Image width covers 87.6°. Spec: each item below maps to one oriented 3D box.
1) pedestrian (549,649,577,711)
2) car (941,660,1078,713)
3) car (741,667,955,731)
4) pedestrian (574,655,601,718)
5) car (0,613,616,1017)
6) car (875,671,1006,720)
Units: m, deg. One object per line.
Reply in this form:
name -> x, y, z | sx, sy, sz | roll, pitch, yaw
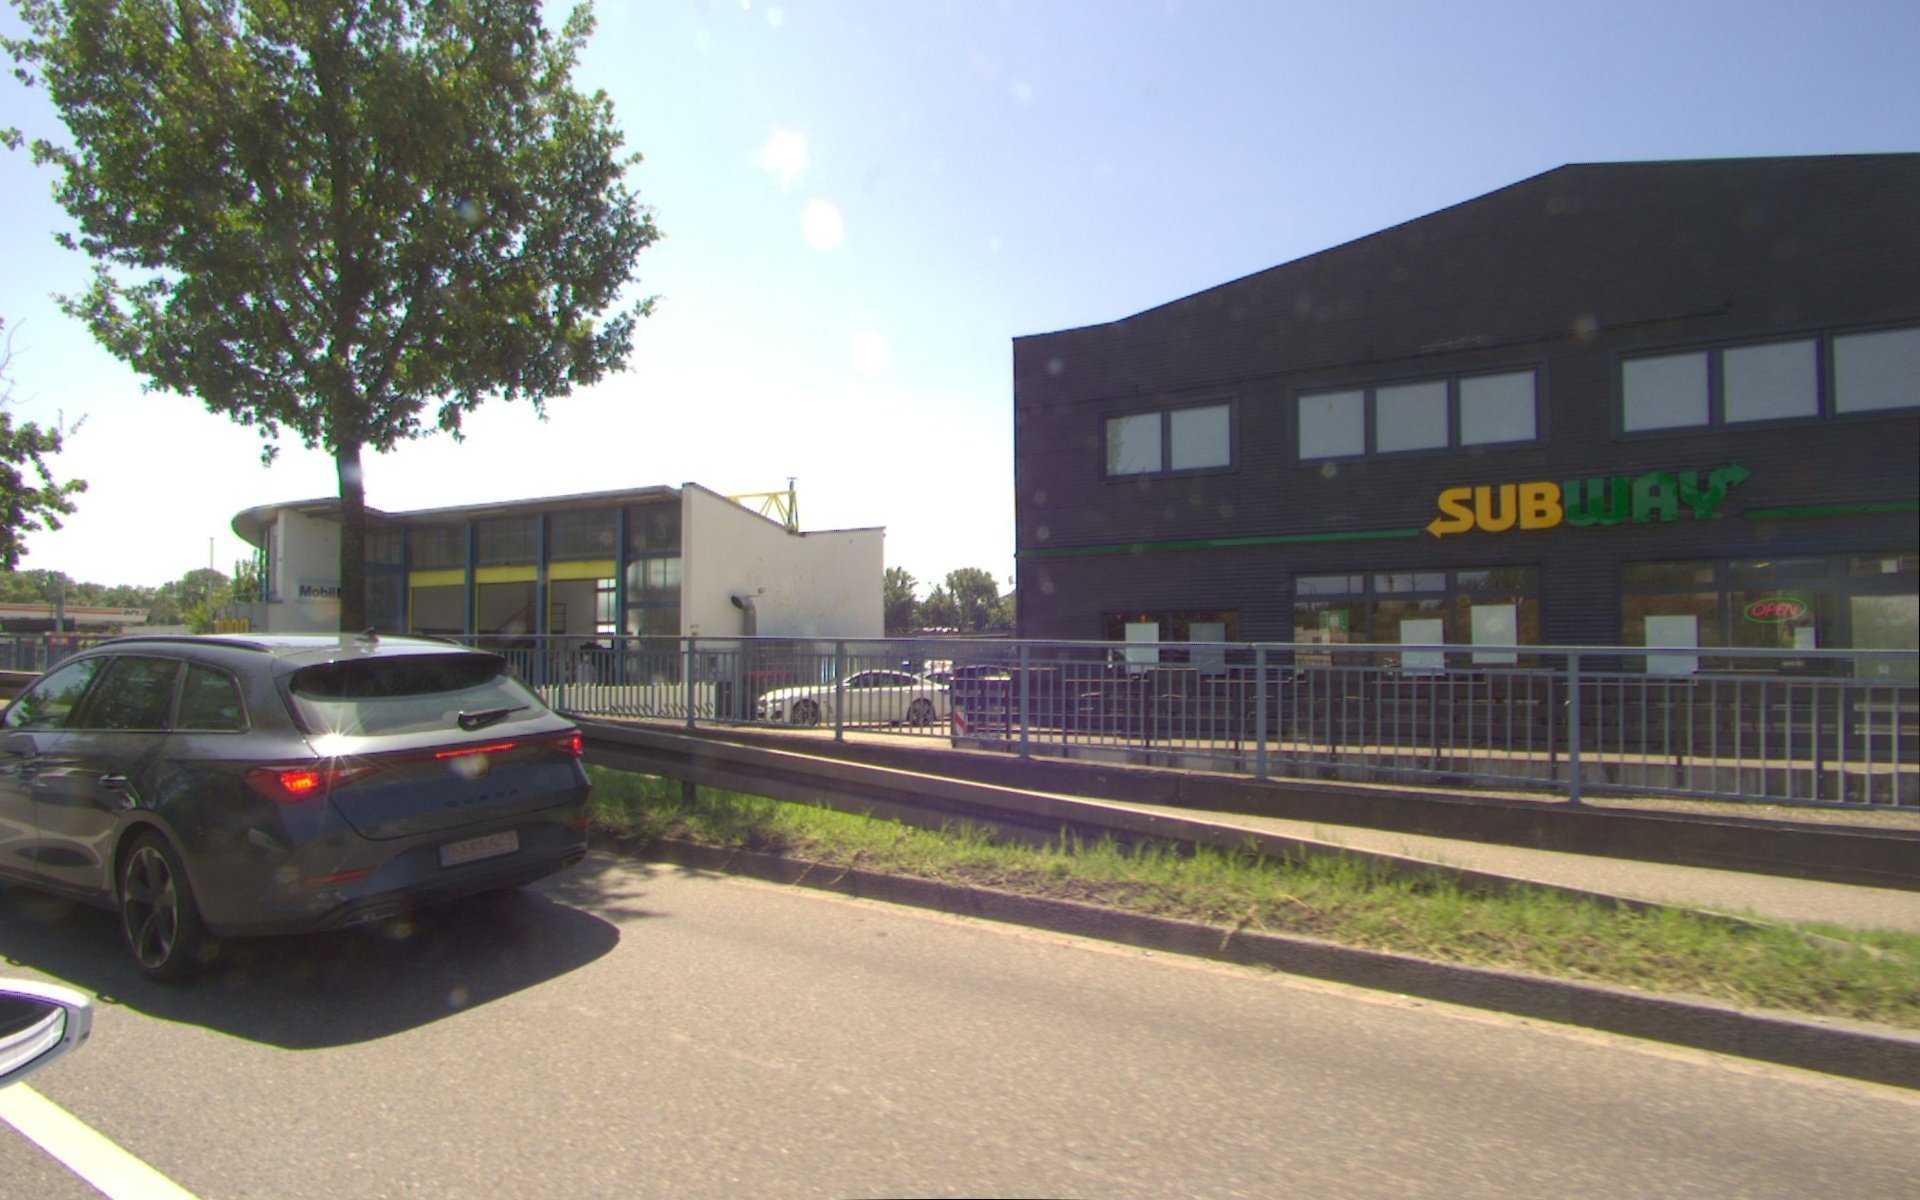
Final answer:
pedestrian -> -11.159, 2.231, 28.153 | 0.480, 1.724, 0.521 | -1, -1, 27
car -> 1.669, 2.845, 33.475 | 4.330, 1.578, 1.651 | 1, -2, -25
car -> -2.798, 2.424, 25.172 | 5.003, 1.375, 1.993 | 1, -2, -25
pedestrian -> -10.372, 2.392, 27.866 | 0.580, 1.724, 0.426 | -1, -1, 26
car -> -3.947, 0.858, 5.401 | 4.171, 1.474, 1.603 | -1, -2, 29
car -> -0.588, 2.747, 29.154 | 3.549, 1.269, 1.478 | 0, -2, -16
